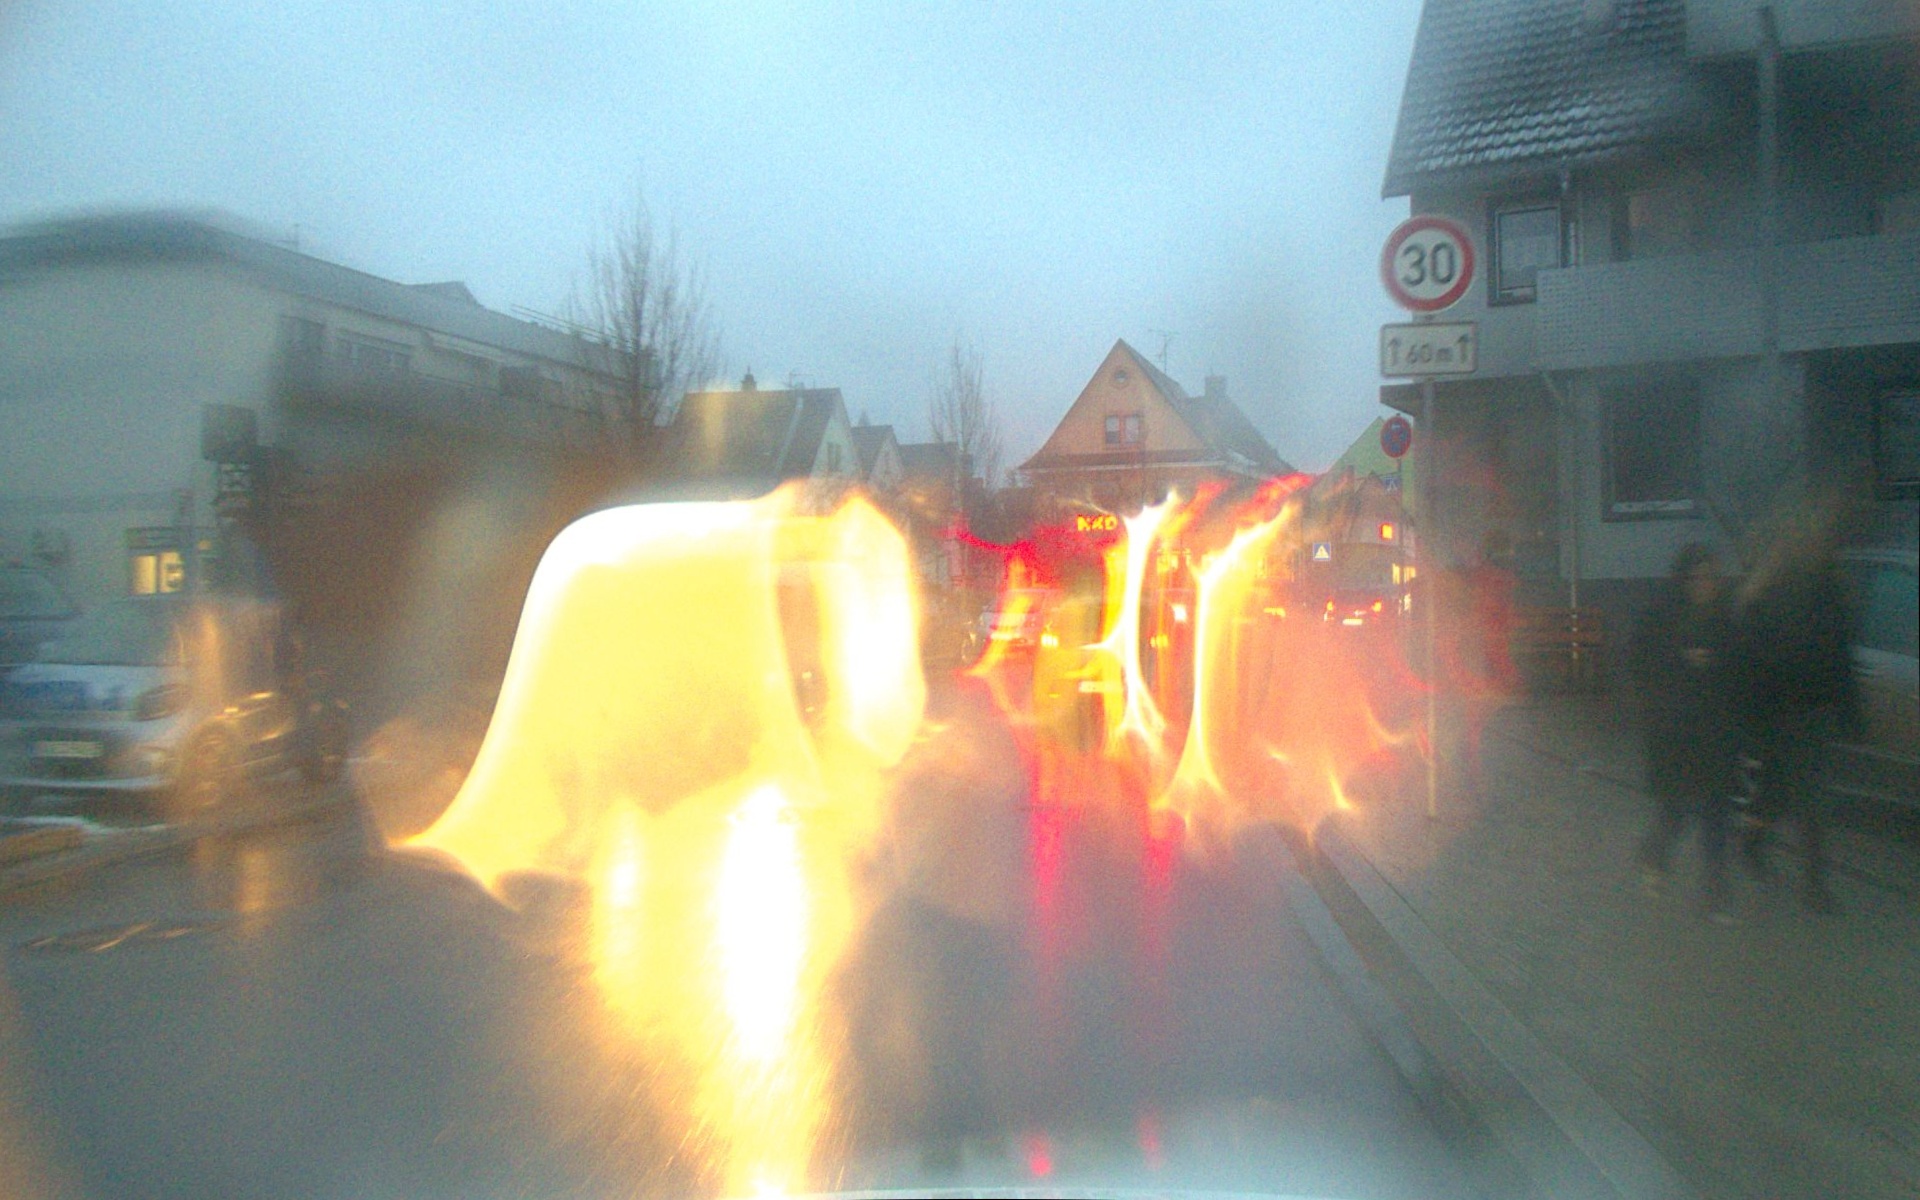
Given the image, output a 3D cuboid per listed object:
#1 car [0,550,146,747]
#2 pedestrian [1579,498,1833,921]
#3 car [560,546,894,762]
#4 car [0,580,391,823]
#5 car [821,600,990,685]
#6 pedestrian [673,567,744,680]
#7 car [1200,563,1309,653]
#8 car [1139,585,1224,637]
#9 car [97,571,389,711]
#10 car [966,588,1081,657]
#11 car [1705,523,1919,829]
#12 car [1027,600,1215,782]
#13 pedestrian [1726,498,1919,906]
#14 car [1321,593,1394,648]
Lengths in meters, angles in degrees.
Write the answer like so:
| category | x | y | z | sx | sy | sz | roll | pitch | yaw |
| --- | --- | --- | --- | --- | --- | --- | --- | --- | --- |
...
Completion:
| category | x | y | z | sx | sy | sz | roll | pitch | yaw |
| --- | --- | --- | --- | --- | --- | --- | --- | --- | --- |
| car | -11.215 | 0.549 | 18.121 | 5.294 | 1.918 | 2.064 | -2 | 0 | 39 |
| pedestrian | 3.243 | 0.450 | 7.260 | 0.698 | 1.729 | 0.804 | -2 | 0 | -1 |
| car | -2.131 | 0.457 | 16.723 | 1.904 | 1.781 | 4.855 | -3 | 0 | 9 |
| car | -6.018 | 0.647 | 12.569 | 1.794 | 1.562 | 3.678 | 0 | 0 | 6 |
| car | -0.987 | 0.776 | 32.582 | 1.711 | 1.498 | 4.459 | 0 | 1 | 21 |
| pedestrian | -4.336 | 0.395 | 28.528 | 0.738 | 1.899 | 1.060 | -1 | 0 | 24 |
| car | 5.944 | 0.150 | 33.056 | 1.759 | 1.691 | 4.003 | 0 | 0 | 16 |
| car | 7.029 | 0.301 | 52.105 | 1.636 | 1.542 | 3.999 | 1 | 1 | 23 |
| car | -10.559 | 0.601 | 24.422 | 3.632 | 1.937 | 1.761 | -1 | 0 | 16 |
| car | 1.567 | 0.483 | 39.393 | 1.657 | 1.543 | 3.774 | 0 | 1 | 20 |
| car | 5.782 | 0.362 | 8.787 | 1.700 | 1.588 | 3.659 | -2 | 0 | -6 |
| car | 1.930 | 0.967 | 19.844 | 1.951 | 1.827 | 4.651 | -1 | 1 | 6 |
| pedestrian | 3.887 | 0.423 | 7.327 | 0.567 | 1.698 | 0.791 | -2 | 0 | -1 |
| car | 11.235 | 0.555 | 46.632 | 1.615 | 1.467 | 3.868 | -1 | 0 | 19 |
